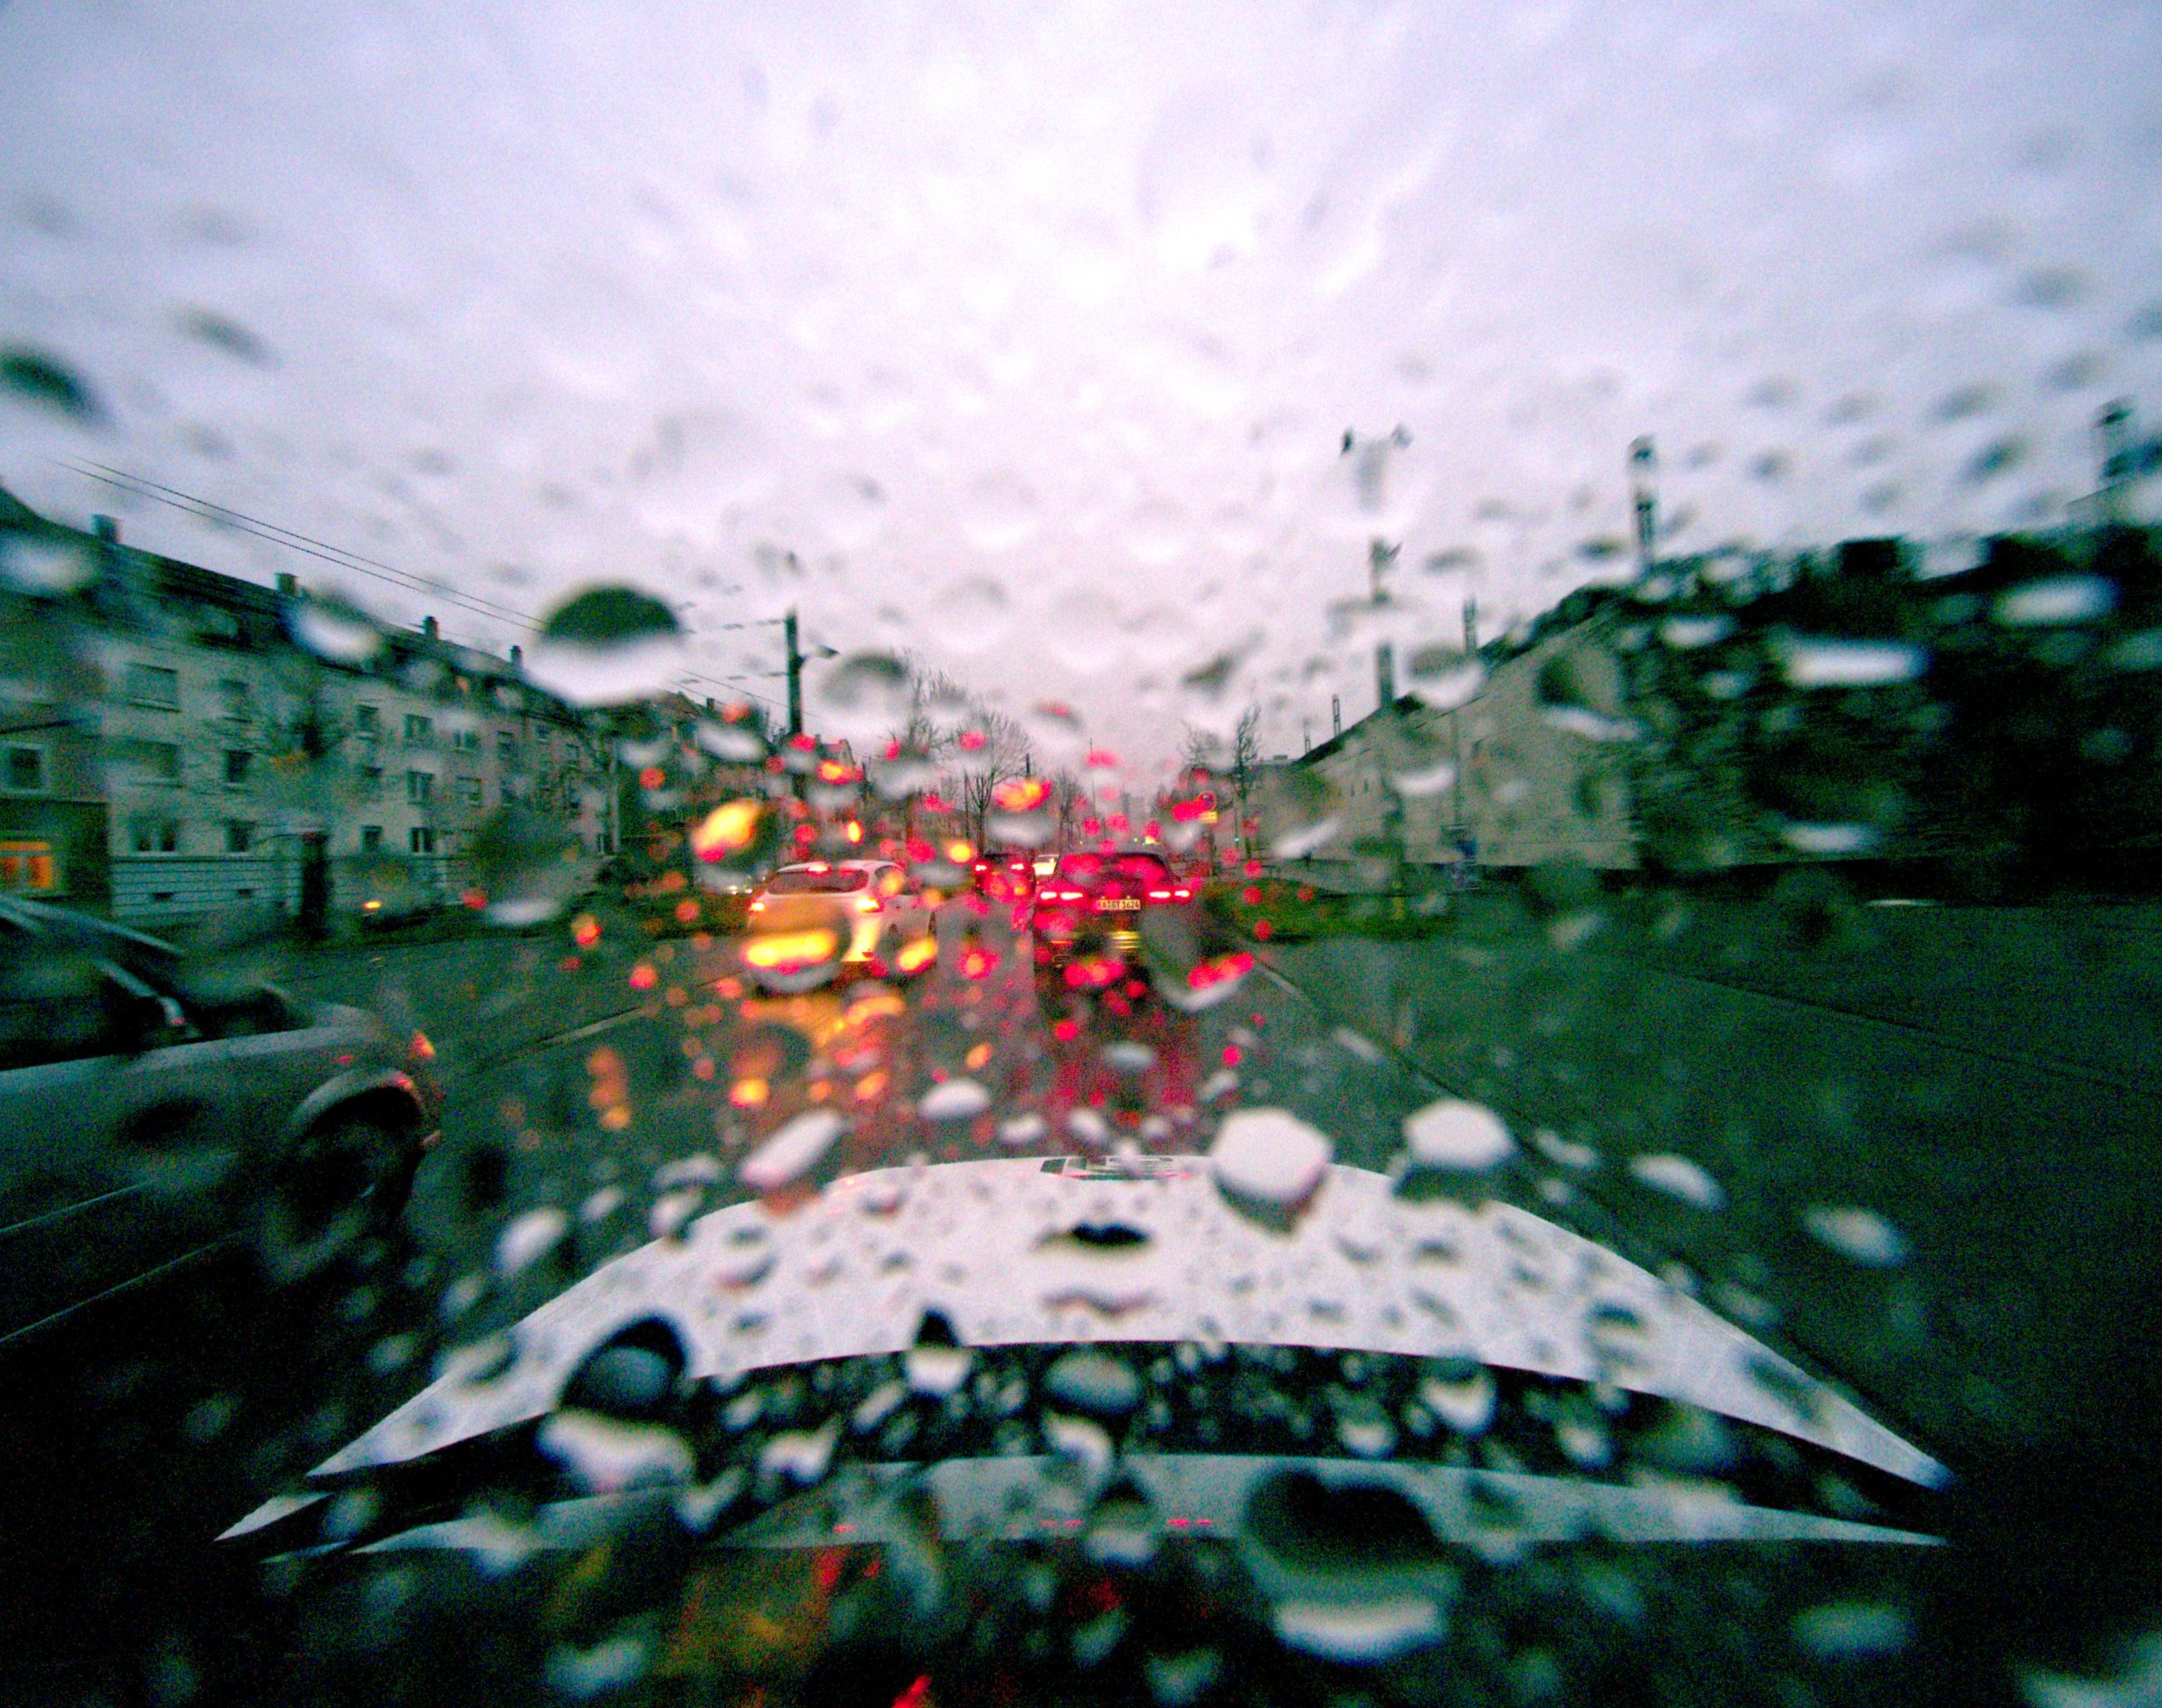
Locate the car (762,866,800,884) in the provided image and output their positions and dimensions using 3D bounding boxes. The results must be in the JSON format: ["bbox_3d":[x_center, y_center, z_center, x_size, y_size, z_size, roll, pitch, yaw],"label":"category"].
[{"bbox_3d":[-26.493,1.860,71.958,1.768,1.354,3.560,-3,0,4],"label":"car"}]

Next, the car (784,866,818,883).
[{"bbox_3d":[-26.178,1.934,76.240,1.768,1.354,3.560,-3,0,4],"label":"car"}]

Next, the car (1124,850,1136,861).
[{"bbox_3d":[8.541,0.277,140.870,1.985,1.729,4.004,-3,0,4],"label":"car"}]

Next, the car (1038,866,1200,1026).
[{"bbox_3d":[0.576,1.008,10.638,1.664,1.600,4.059,-2,0,5],"label":"car"}]

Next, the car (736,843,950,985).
[{"bbox_3d":[-3.079,0.694,11.426,1.666,1.600,4.055,-2,0,2],"label":"car"}]

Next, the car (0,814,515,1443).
[{"bbox_3d":[-3.666,0.721,1.949,1.804,1.600,4.051,-2,0,-1],"label":"car"}]

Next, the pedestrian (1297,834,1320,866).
[{"bbox_3d":[11.823,-0.209,42.387,0.934,1.618,0.695,-3,0,1],"label":"pedestrian"}]

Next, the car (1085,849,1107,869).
[{"bbox_3d":[1.664,0.549,86.660,1.983,2.014,4.006,-1,-1,6],"label":"car"}]

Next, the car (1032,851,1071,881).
[{"bbox_3d":[-1.638,0.669,46.283,1.664,1.600,4.059,-2,0,5],"label":"car"}]

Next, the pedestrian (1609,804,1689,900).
[{"bbox_3d":[10.023,-0.039,14.414,0.619,1.610,1.067,-3,0,1],"label":"pedestrian"}]

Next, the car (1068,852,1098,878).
[{"bbox_3d":[0.229,0.872,65.508,1.983,2.014,4.006,-1,-1,6],"label":"car"}]

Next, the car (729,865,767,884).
[{"bbox_3d":[-30.671,1.864,75.141,1.768,1.500,3.560,-3,0,4],"label":"car"}]

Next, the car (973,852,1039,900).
[{"bbox_3d":[-2.671,0.763,29.862,1.664,1.600,4.059,-2,0,5],"label":"car"}]

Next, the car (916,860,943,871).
[{"bbox_3d":[-21.176,1.577,113.967,3.510,1.354,1.793,-3,0,38],"label":"car"}]
